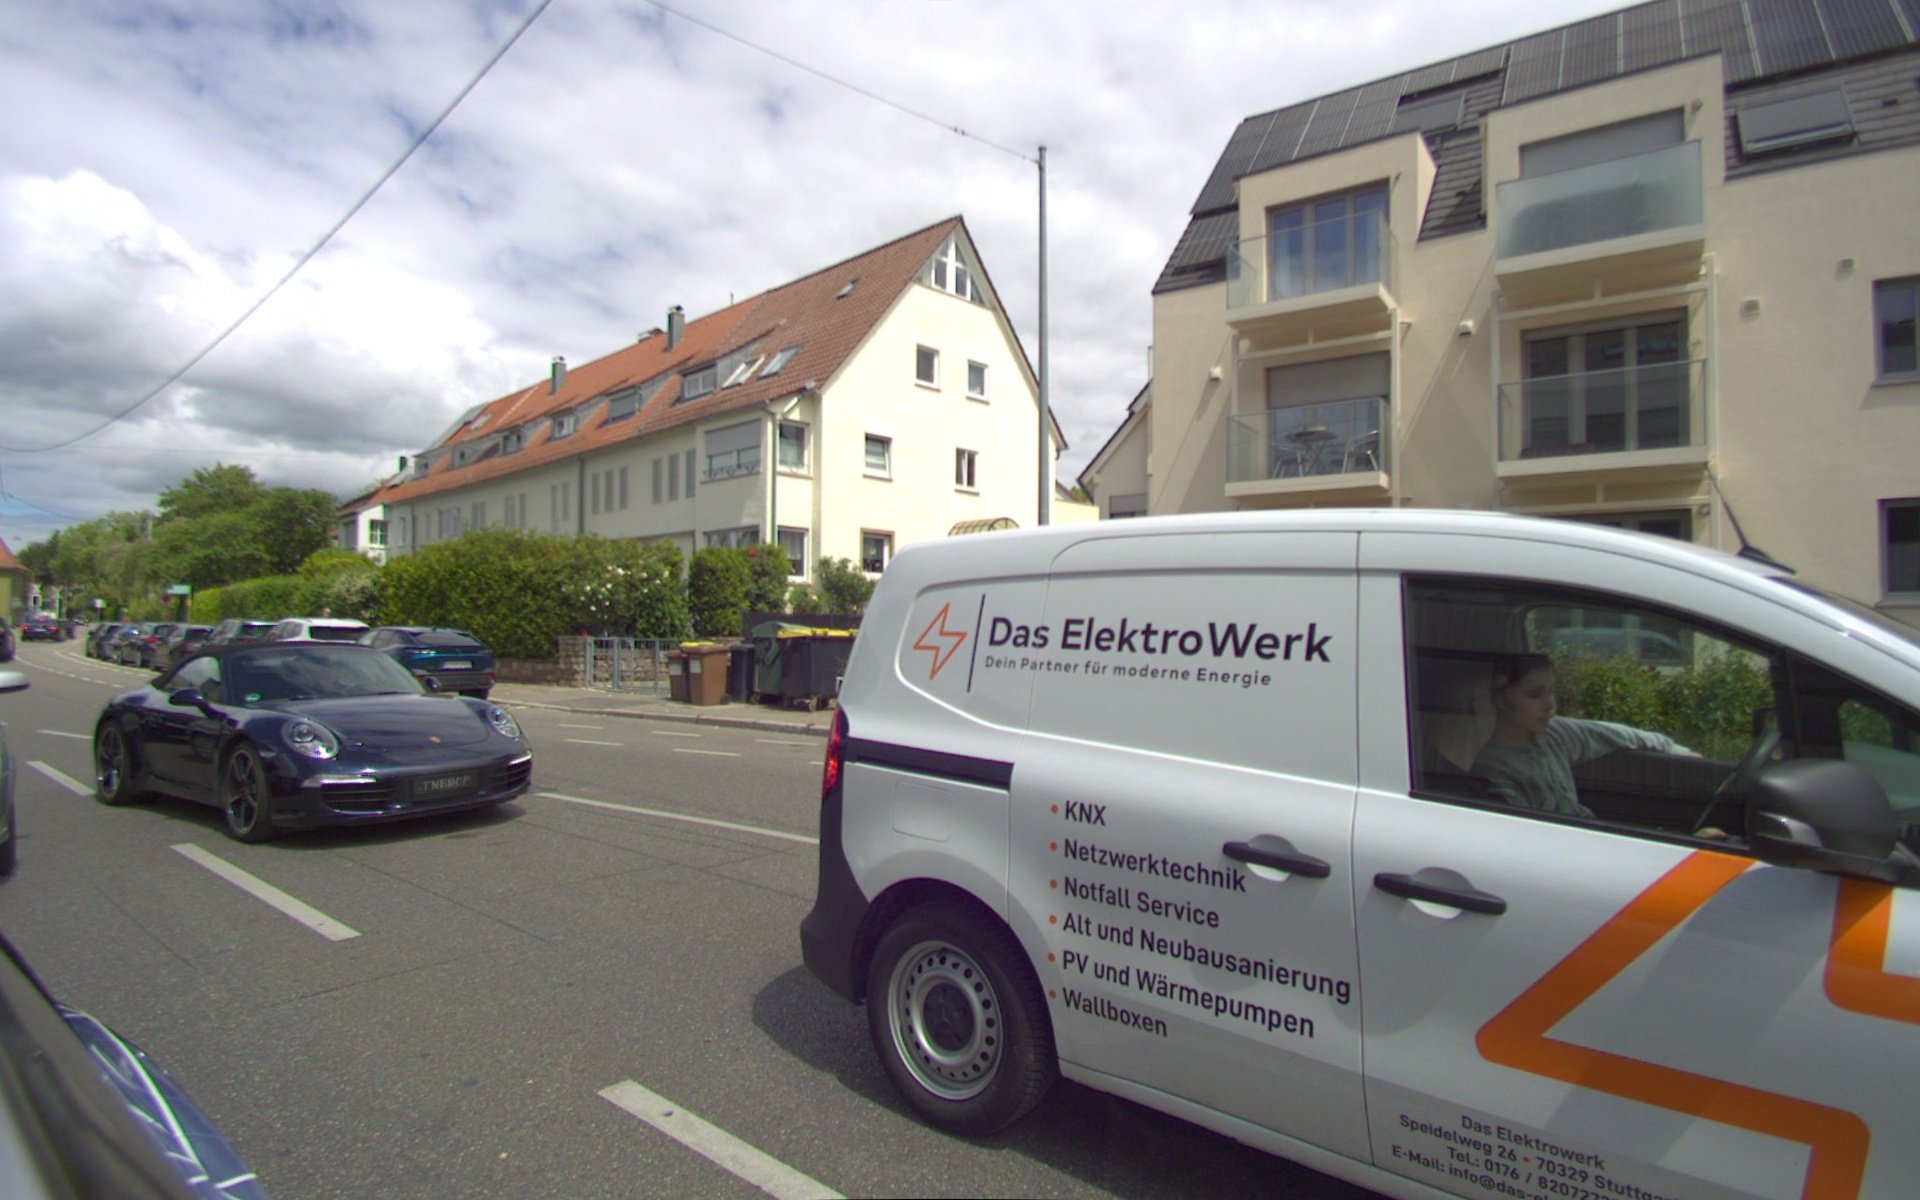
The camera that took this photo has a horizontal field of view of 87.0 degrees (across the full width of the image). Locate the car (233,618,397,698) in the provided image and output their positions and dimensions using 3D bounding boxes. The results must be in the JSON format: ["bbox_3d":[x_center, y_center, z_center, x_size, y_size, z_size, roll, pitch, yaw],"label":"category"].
[{"bbox_3d":[-14.791,1.247,23.118,4.451,1.645,1.973,-1,-1,41],"label":"car"}]

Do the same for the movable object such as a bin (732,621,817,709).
[{"bbox_3d":[-3.213,1.097,17.552,0.980,1.457,1.078,-1,-1,41],"label":"movable object such as a bin"}]

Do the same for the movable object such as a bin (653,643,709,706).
[{"bbox_3d":[-5.022,1.322,18.223,0.752,1.073,0.693,1,-2,-42],"label":"movable object such as a bin"}]

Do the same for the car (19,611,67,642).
[{"bbox_3d":[-58.129,1.671,64.240,1.968,1.929,4.077,1,-1,-38],"label":"car"}]

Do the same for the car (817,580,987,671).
[{"bbox_3d":[-1.350,0.596,24.688,1.999,2.029,3.946,-1,-1,40],"label":"car"}]

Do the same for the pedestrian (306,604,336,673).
[{"bbox_3d":[-17.331,1.030,27.436,0.511,1.829,0.526,-1,-2,36],"label":"pedestrian"}]

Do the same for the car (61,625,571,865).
[{"bbox_3d":[-5.028,0.892,7.775,4.032,1.374,1.795,-1,-1,33],"label":"car"}]

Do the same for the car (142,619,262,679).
[{"bbox_3d":[-22.658,1.422,30.187,4.234,1.645,1.973,-1,-3,41],"label":"car"}]

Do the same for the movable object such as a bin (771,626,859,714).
[{"bbox_3d":[-2.392,1.127,16.736,0.980,1.373,1.078,-1,-1,41],"label":"movable object such as a bin"}]

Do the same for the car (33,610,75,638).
[{"bbox_3d":[-64.084,1.698,71.652,1.968,1.929,4.077,1,-1,-38],"label":"car"}]

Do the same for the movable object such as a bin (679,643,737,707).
[{"bbox_3d":[-4.430,1.297,17.769,0.752,1.073,0.693,1,-2,-42],"label":"movable object such as a bin"}]

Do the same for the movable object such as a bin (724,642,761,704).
[{"bbox_3d":[-3.894,1.308,18.157,0.516,1.073,0.656,0,-1,2],"label":"movable object such as a bin"}]

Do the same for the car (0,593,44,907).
[{"bbox_3d":[-6.831,0.772,5.886,3.999,1.587,1.751,-1,-1,41],"label":"car"}]

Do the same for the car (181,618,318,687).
[{"bbox_3d":[-18.721,1.308,26.590,4.234,1.645,1.973,-1,-1,41],"label":"car"}]

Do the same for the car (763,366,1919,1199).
[{"bbox_3d":[1.620,0.564,2.638,4.414,1.825,1.798,-1,-1,39],"label":"car"}]

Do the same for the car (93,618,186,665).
[{"bbox_3d":[-30.722,1.501,37.867,4.234,1.645,1.973,-1,-1,41],"label":"car"}]

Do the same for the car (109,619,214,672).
[{"bbox_3d":[-26.615,1.461,33.703,4.234,1.645,1.973,-1,-1,41],"label":"car"}]

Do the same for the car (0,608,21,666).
[{"bbox_3d":[-33.557,1.238,34.498,4.069,1.929,1.972,-1,-1,43],"label":"car"}]

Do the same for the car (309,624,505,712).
[{"bbox_3d":[-10.947,1.247,19.929,4.447,1.513,1.796,-1,-1,38],"label":"car"}]
